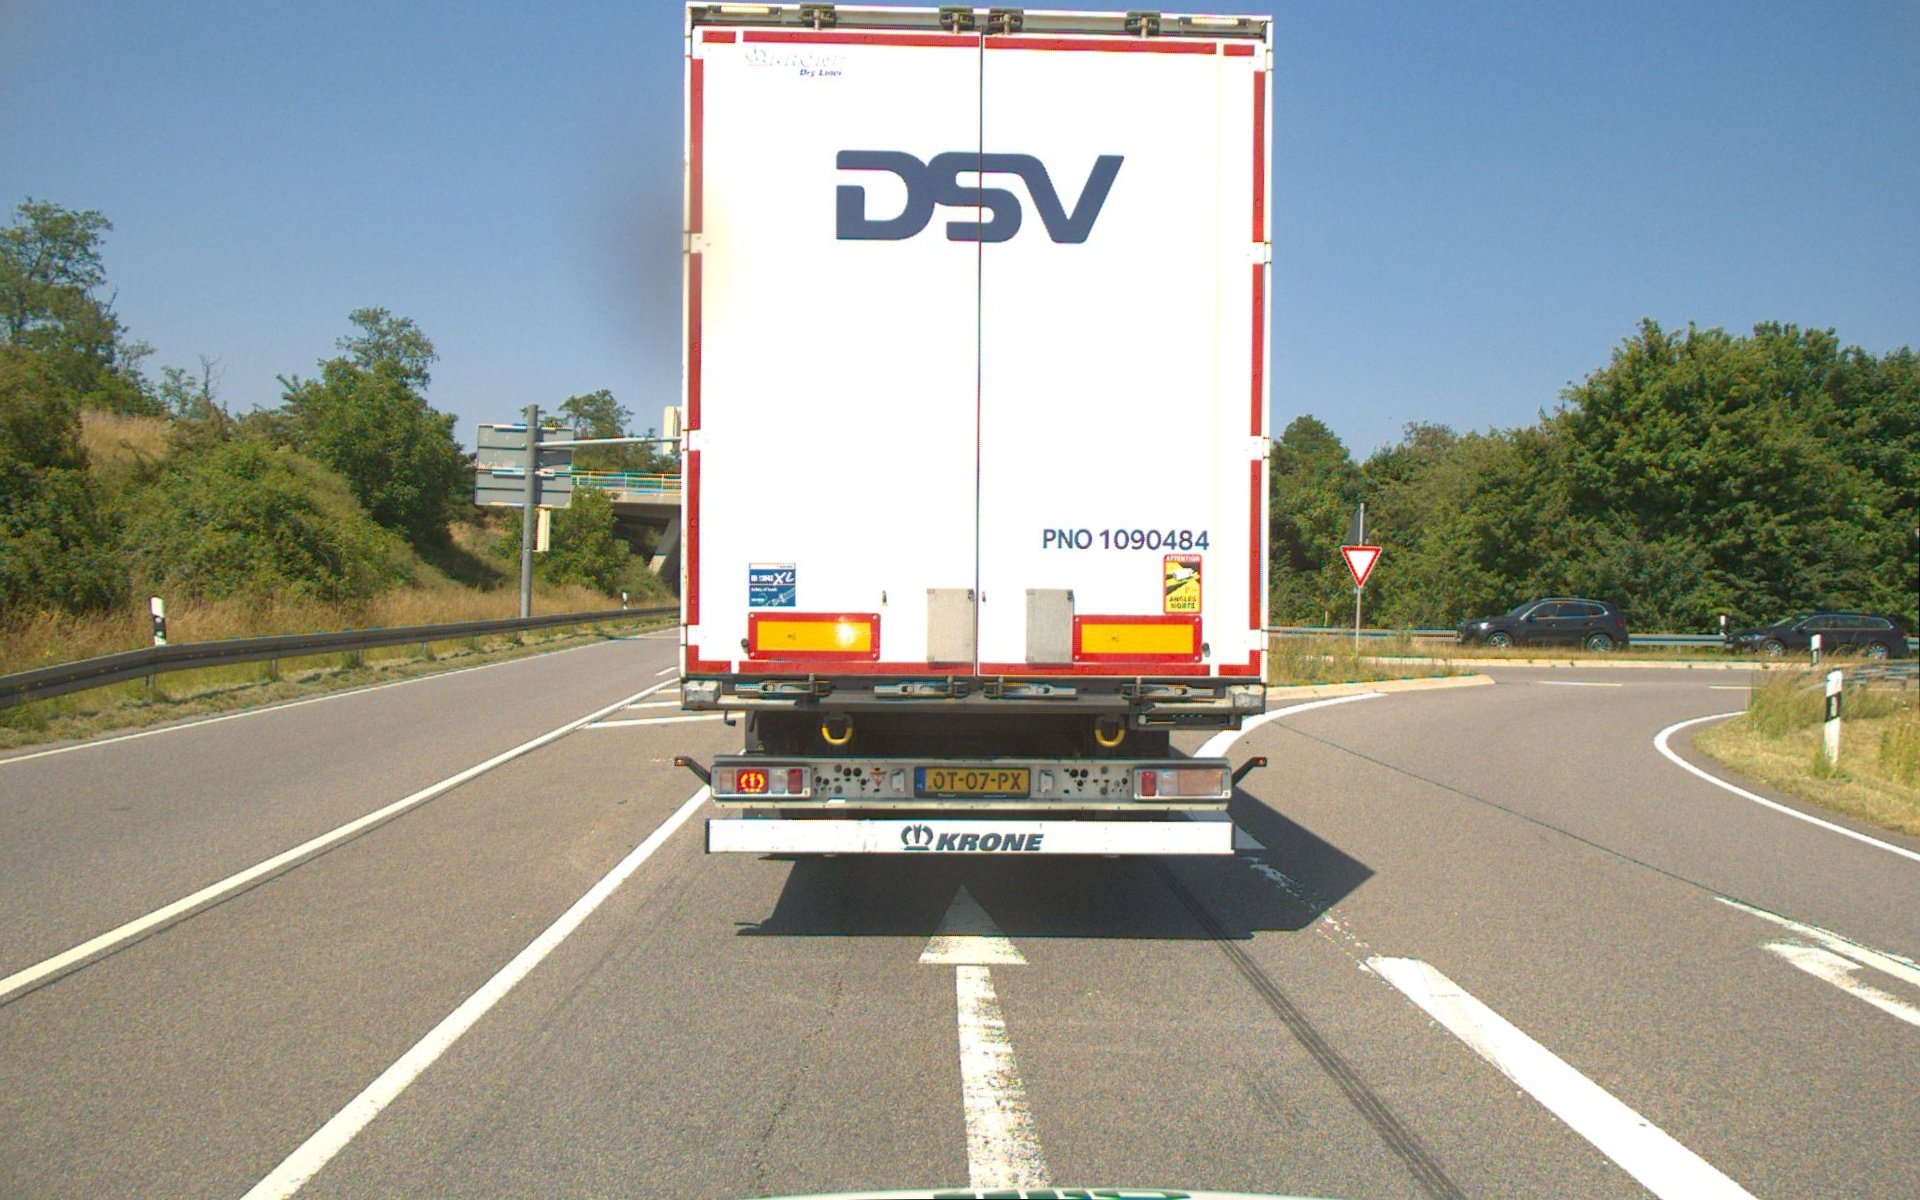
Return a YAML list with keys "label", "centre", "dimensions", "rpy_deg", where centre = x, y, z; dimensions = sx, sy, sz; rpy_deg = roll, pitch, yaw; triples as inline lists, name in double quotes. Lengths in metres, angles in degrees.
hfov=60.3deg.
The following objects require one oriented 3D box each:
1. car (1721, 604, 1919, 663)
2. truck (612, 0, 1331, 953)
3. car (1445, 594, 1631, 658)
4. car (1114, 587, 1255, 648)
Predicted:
- label: "car"
  centre: [23.785, 0.906, 45.794]
  dimensions: [4.583, 1.540, 1.854]
  rpy_deg: [1, -1, 6]
- label: "truck"
  centre: [-0.057, -0.558, 11.766]
  dimensions: [2.927, 4.011, 9.872]
  rpy_deg: [1, 0, -1]
- label: "car"
  centre: [15.459, 0.696, 44.404]
  dimensions: [4.393, 1.626, 1.768]
  rpy_deg: [1, -1, 2]
- label: "car"
  centre: [6.356, 0.493, 47.173]
  dimensions: [3.901, 1.669, 1.842]
  rpy_deg: [1, -1, 5]
